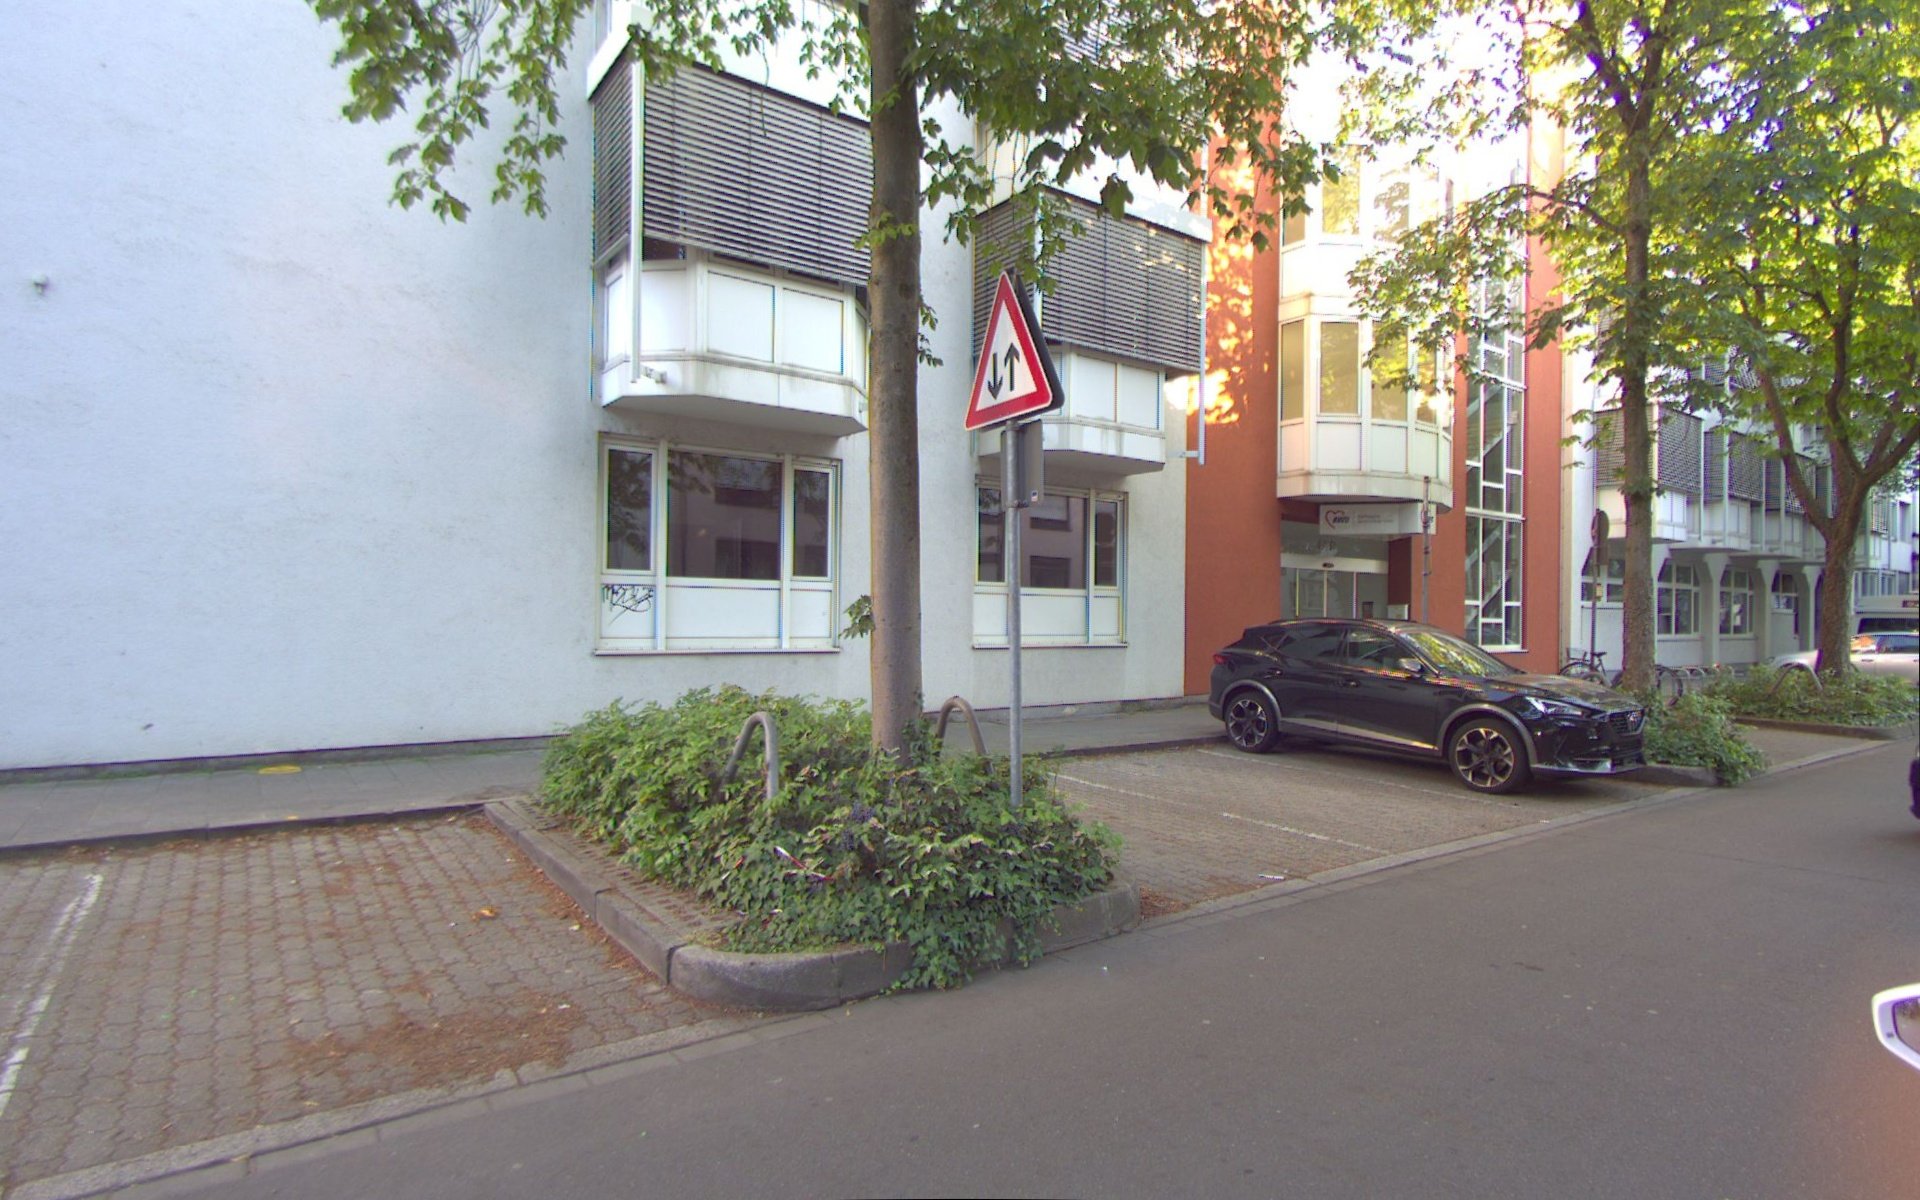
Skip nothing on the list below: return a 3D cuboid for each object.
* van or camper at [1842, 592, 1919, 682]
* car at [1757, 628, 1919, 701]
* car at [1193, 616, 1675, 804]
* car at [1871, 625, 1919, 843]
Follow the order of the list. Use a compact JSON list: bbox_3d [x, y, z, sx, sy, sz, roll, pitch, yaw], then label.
[{"bbox_3d":[27.898,1.039,28.040,1.981,2.511,4.632,1,-1,-36],"label":"van or camper"},{"bbox_3d":[21.158,1.454,23.239,1.767,1.537,3.942,1,-1,-35],"label":"car"},{"bbox_3d":[4.713,0.959,10.613,1.768,1.537,4.325,1,-1,-35],"label":"car"},{"bbox_3d":[8.258,0.922,5.374,1.774,1.499,4.735,1,-1,-22],"label":"car"}]
